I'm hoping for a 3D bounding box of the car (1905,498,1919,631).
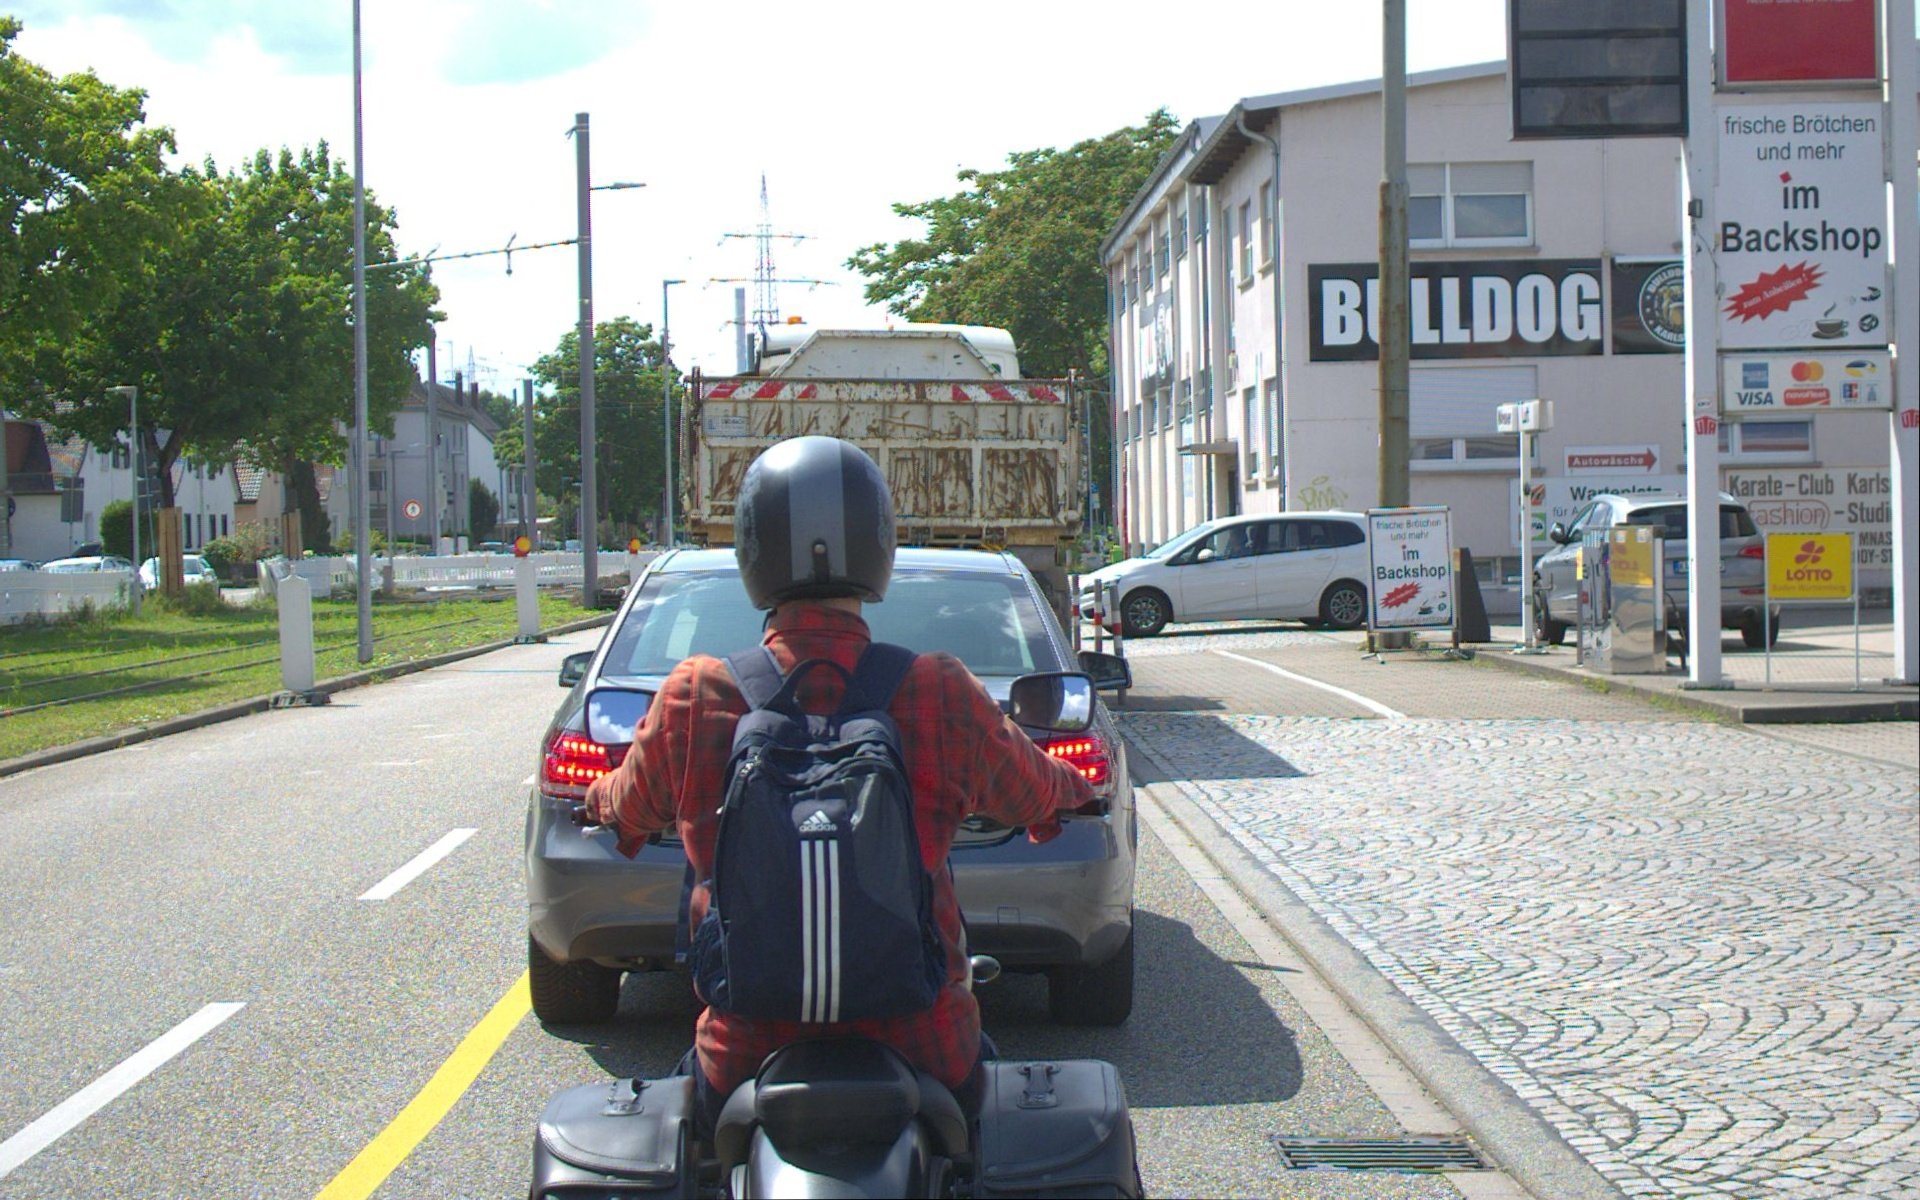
[{"bbox_3d":[11.732,-0.384,37.091,1.806,1.498,3.834,-1,1,-3],"label":"car"}]

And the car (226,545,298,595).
[{"bbox_3d":[-25.416,-1.109,125.245,1.776,1.717,4.128,-1,1,0],"label":"car"}]

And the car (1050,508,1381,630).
[{"bbox_3d":[3.469,-0.438,47.017,4.229,1.537,1.673,-1,1,-8],"label":"car"}]

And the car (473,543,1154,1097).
[{"bbox_3d":[-0.419,0.564,11.302,1.823,1.447,4.000,1,1,-1],"label":"car"}]

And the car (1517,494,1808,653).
[{"bbox_3d":[7.376,-0.309,36.522,1.667,1.557,4.245,-1,1,-8],"label":"car"}]

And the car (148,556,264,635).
[{"bbox_3d":[-17.497,-0.136,79.963,1.776,1.717,4.128,-1,1,0],"label":"car"}]

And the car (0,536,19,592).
[{"bbox_3d":[-30.043,-1.069,104.409,1.776,1.717,4.128,-1,1,0],"label":"car"}]

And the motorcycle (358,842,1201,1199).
[{"bbox_3d":[-0.217,0.956,5.340,0.979,0.894,2.653,-1,1,-1],"label":"motorcycle"}]

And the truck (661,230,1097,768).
[{"bbox_3d":[-0.546,-0.716,25.365,2.638,3.285,8.057,-1,1,-1],"label":"truck"}]

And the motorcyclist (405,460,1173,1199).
[{"bbox_3d":[-0.221,0.614,5.029,0.979,1.597,1.088,-1,1,-1],"label":"motorcyclist"}]
